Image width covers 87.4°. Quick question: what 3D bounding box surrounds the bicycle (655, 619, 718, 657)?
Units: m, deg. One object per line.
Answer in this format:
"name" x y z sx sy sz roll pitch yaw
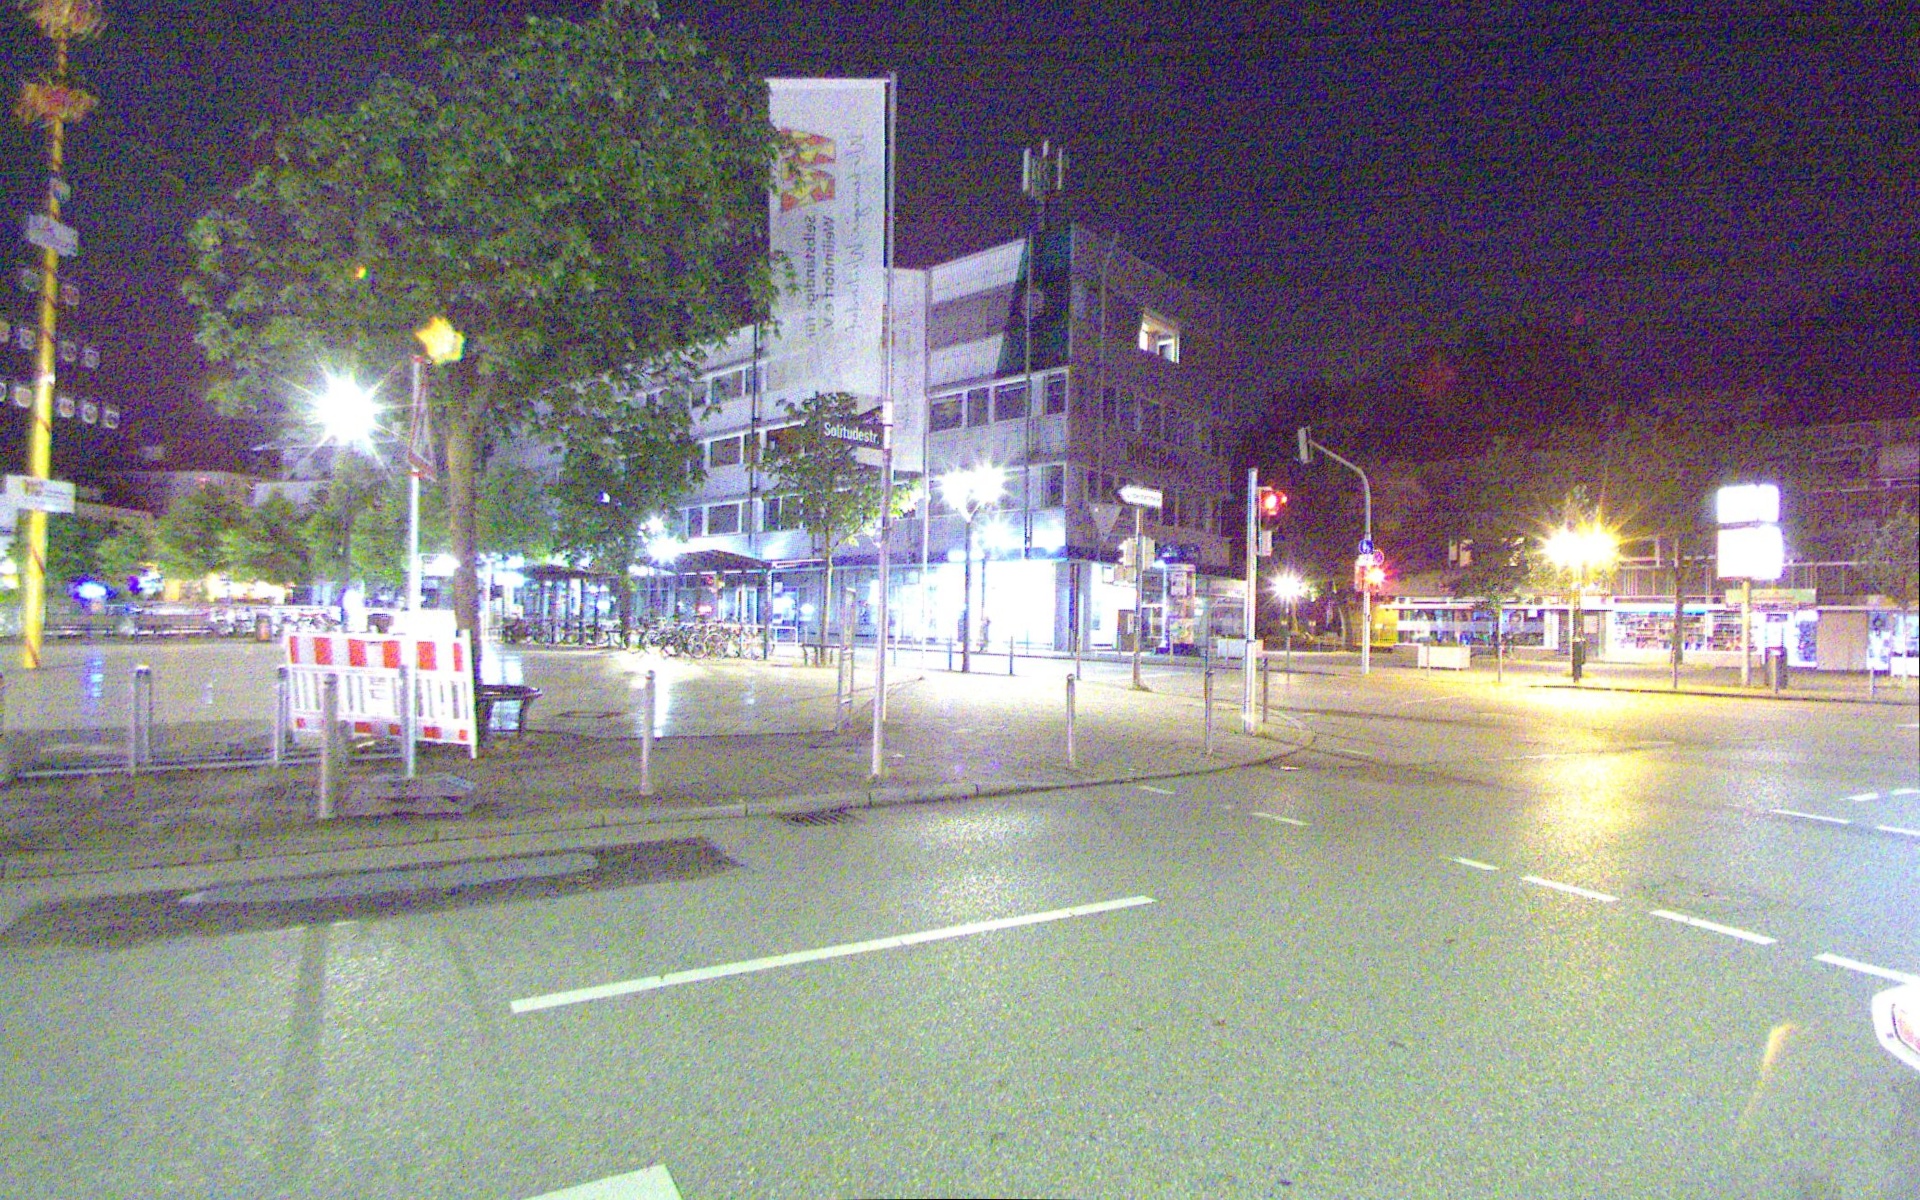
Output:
"bicycle" -7.103 0.985 26.145 0.473 0.970 1.525 2 0 44

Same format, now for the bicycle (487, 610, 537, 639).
"bicycle" -15.547 0.860 34.888 0.473 0.970 1.525 2 0 44

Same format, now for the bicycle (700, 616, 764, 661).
"bicycle" -5.648 0.945 24.929 0.440 1.068 1.525 2 0 43

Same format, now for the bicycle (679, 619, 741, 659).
"bicycle" -6.346 0.985 25.562 0.440 0.970 1.525 2 0 43

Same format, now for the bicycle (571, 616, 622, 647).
"bicycle" -11.974 1.032 33.115 0.473 0.970 1.525 2 0 44

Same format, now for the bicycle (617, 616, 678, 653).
"bicycle" -8.528 0.937 27.428 0.473 0.970 1.525 2 0 44

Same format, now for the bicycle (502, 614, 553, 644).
"bicycle" -14.782 0.992 34.366 0.473 0.970 1.525 2 0 44

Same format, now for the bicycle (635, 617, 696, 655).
"bicycle" -7.848 0.955 26.827 0.473 0.970 1.525 2 0 44

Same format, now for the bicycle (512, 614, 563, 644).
"bicycle" -14.181 0.983 33.743 0.473 0.970 1.525 2 0 44

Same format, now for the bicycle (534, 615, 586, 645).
"bicycle" -13.168 0.995 33.083 0.473 0.970 1.525 2 0 44
